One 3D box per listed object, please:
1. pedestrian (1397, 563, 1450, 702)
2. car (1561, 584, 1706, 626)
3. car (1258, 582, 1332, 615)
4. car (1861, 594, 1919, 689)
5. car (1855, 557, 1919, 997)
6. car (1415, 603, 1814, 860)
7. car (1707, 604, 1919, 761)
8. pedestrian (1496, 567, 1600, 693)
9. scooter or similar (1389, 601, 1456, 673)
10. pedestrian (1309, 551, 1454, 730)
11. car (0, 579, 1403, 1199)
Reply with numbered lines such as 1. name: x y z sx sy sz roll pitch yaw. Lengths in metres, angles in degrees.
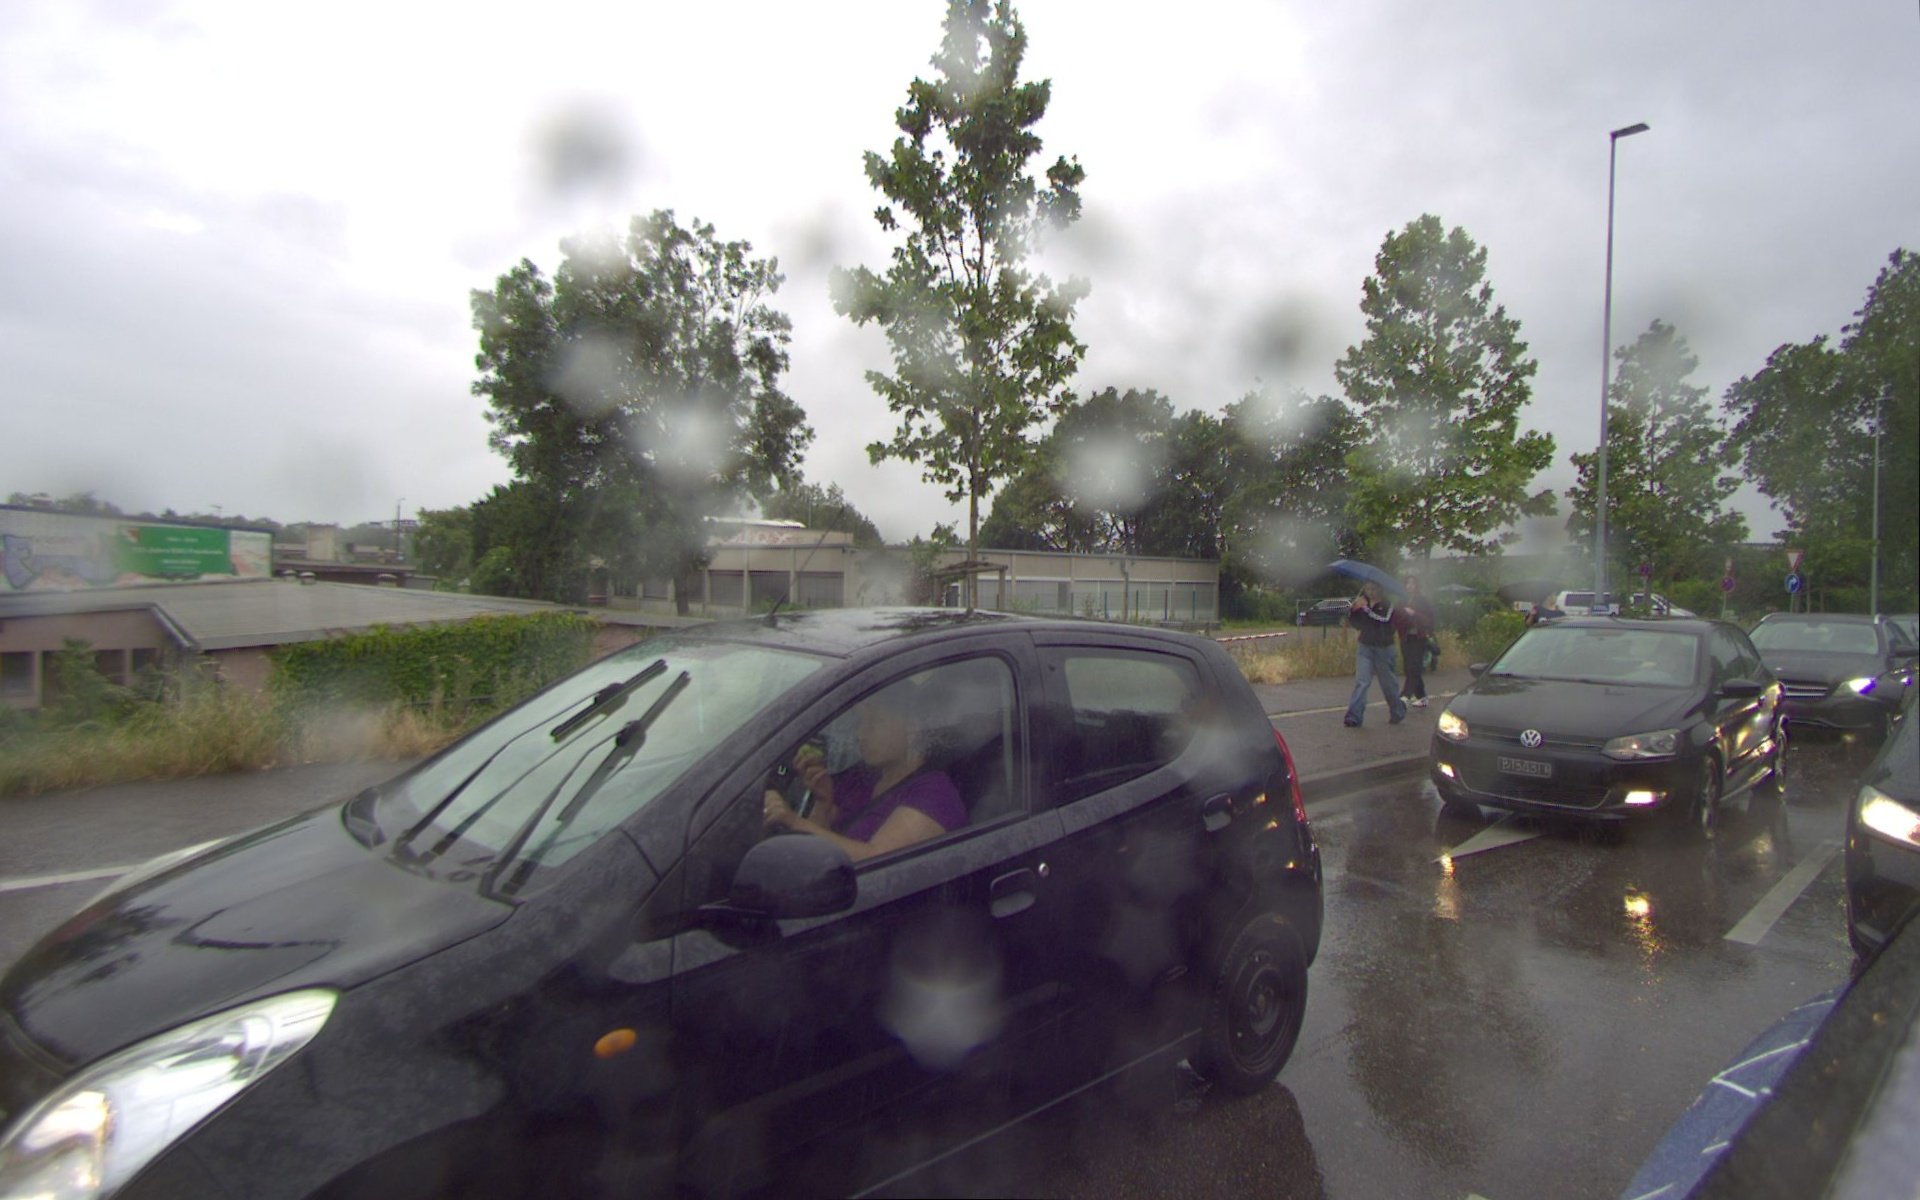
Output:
1. pedestrian: 5.780 0.393 12.630 0.433 1.682 0.400 0 3 -42
2. car: 28.163 0.172 42.442 1.966 1.670 4.752 -1 1 -42
3. car: 20.992 -0.108 63.476 1.964 2.039 3.996 0 0 -38
4. car: 16.864 0.654 17.344 4.052 1.488 1.702 -1 1 -42
5. car: 5.478 0.628 4.527 4.091 1.607 1.688 -1 0 -41
6. car: 4.996 0.754 7.549 3.561 1.447 1.631 0 0 -42
7. car: 10.769 0.874 12.504 3.747 1.594 1.697 -1 0 -41
8. pedestrian: 8.620 0.405 14.845 0.876 1.729 1.024 0 3 -41
9. scooter or similar: 7.892 0.610 17.248 1.747 1.144 0.380 -1 2 -43
10. pedestrian: 4.500 0.381 10.831 0.953 1.777 1.081 0 3 -42
11. car: -0.328 0.705 2.917 3.561 1.447 1.631 0 0 -42
